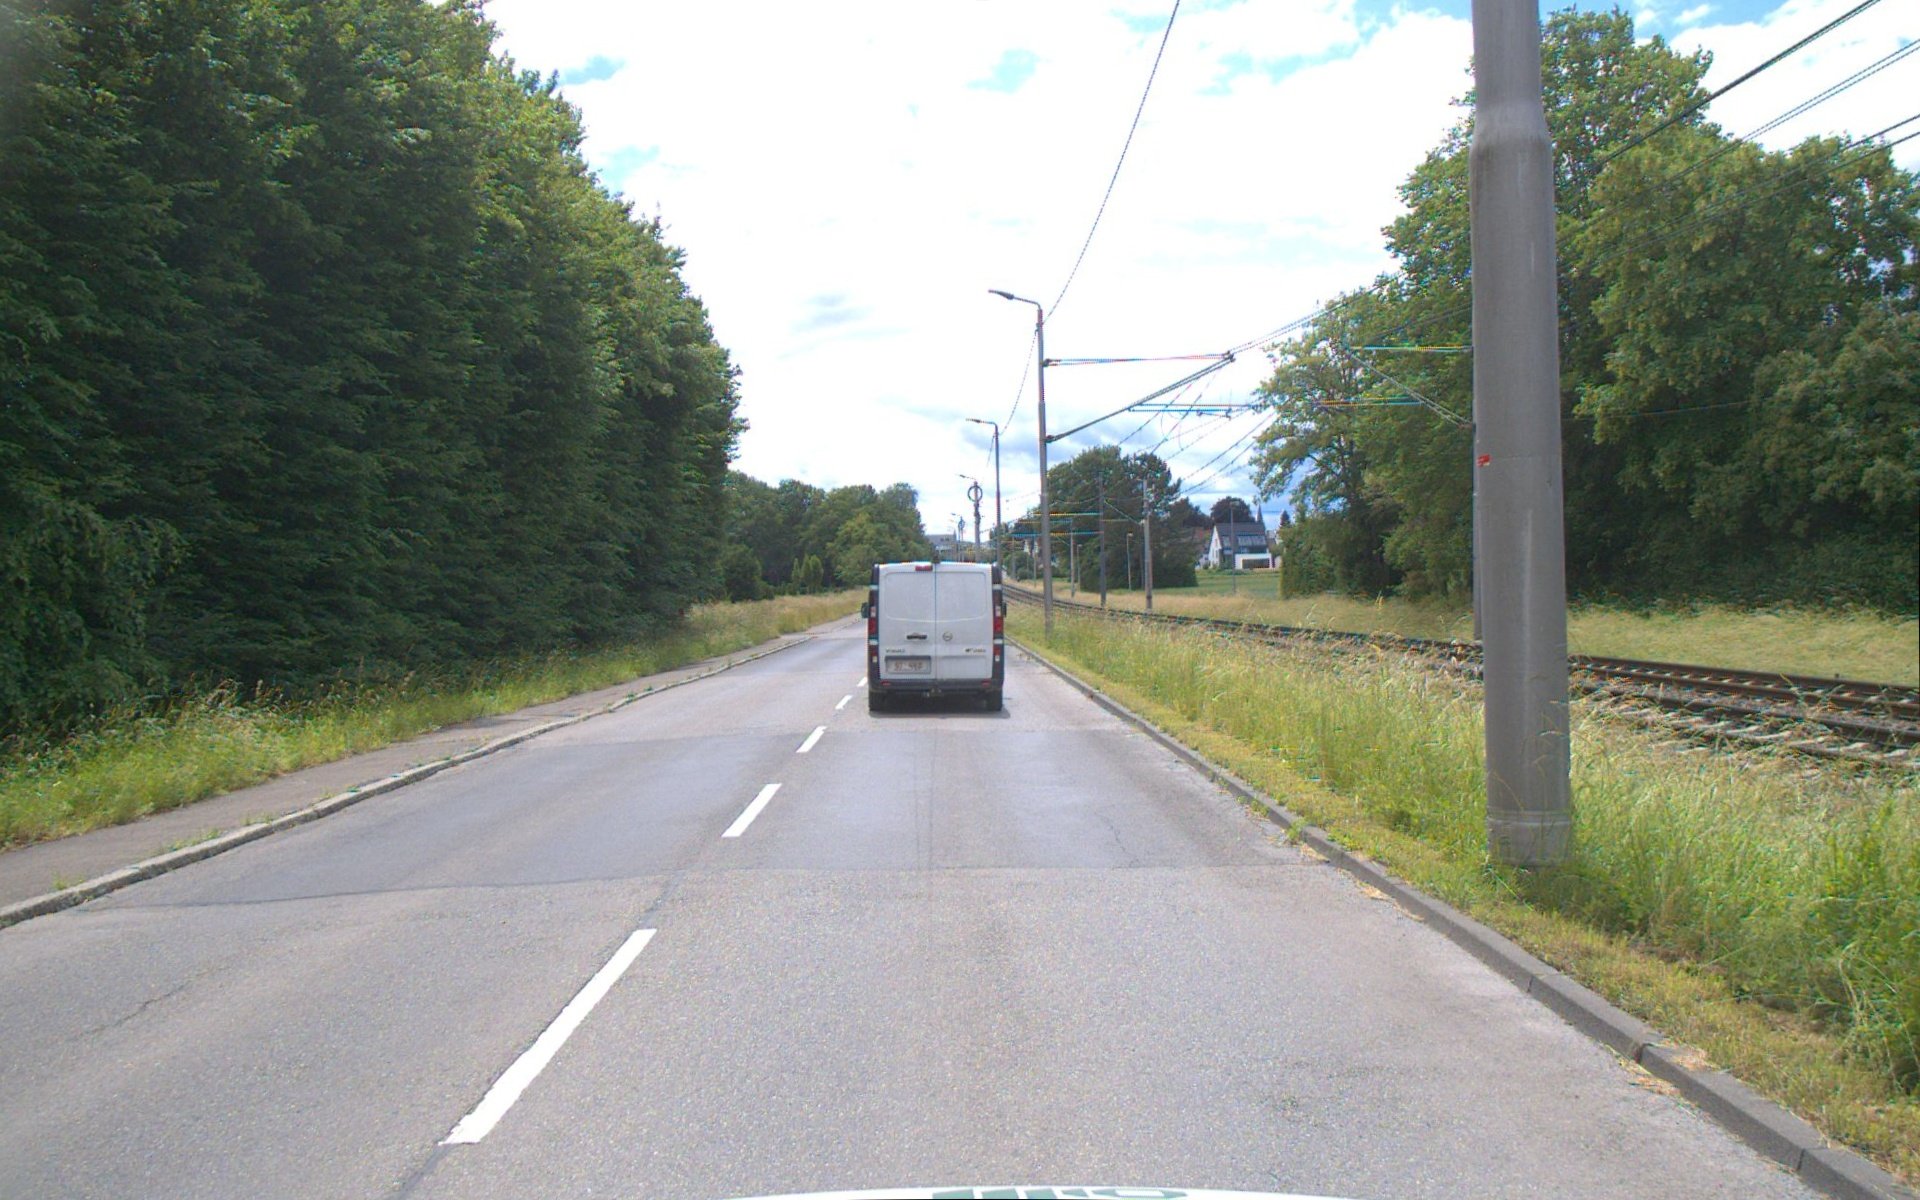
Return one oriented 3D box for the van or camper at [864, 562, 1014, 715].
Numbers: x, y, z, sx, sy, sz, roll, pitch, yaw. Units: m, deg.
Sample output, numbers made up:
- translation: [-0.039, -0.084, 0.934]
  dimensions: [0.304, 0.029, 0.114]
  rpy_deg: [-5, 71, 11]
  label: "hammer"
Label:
- translation: [-0.215, 0.446, 23.283]
  dimensions: [1.902, 1.930, 4.286]
  rpy_deg: [0, 1, 1]
  label: "van or camper"
